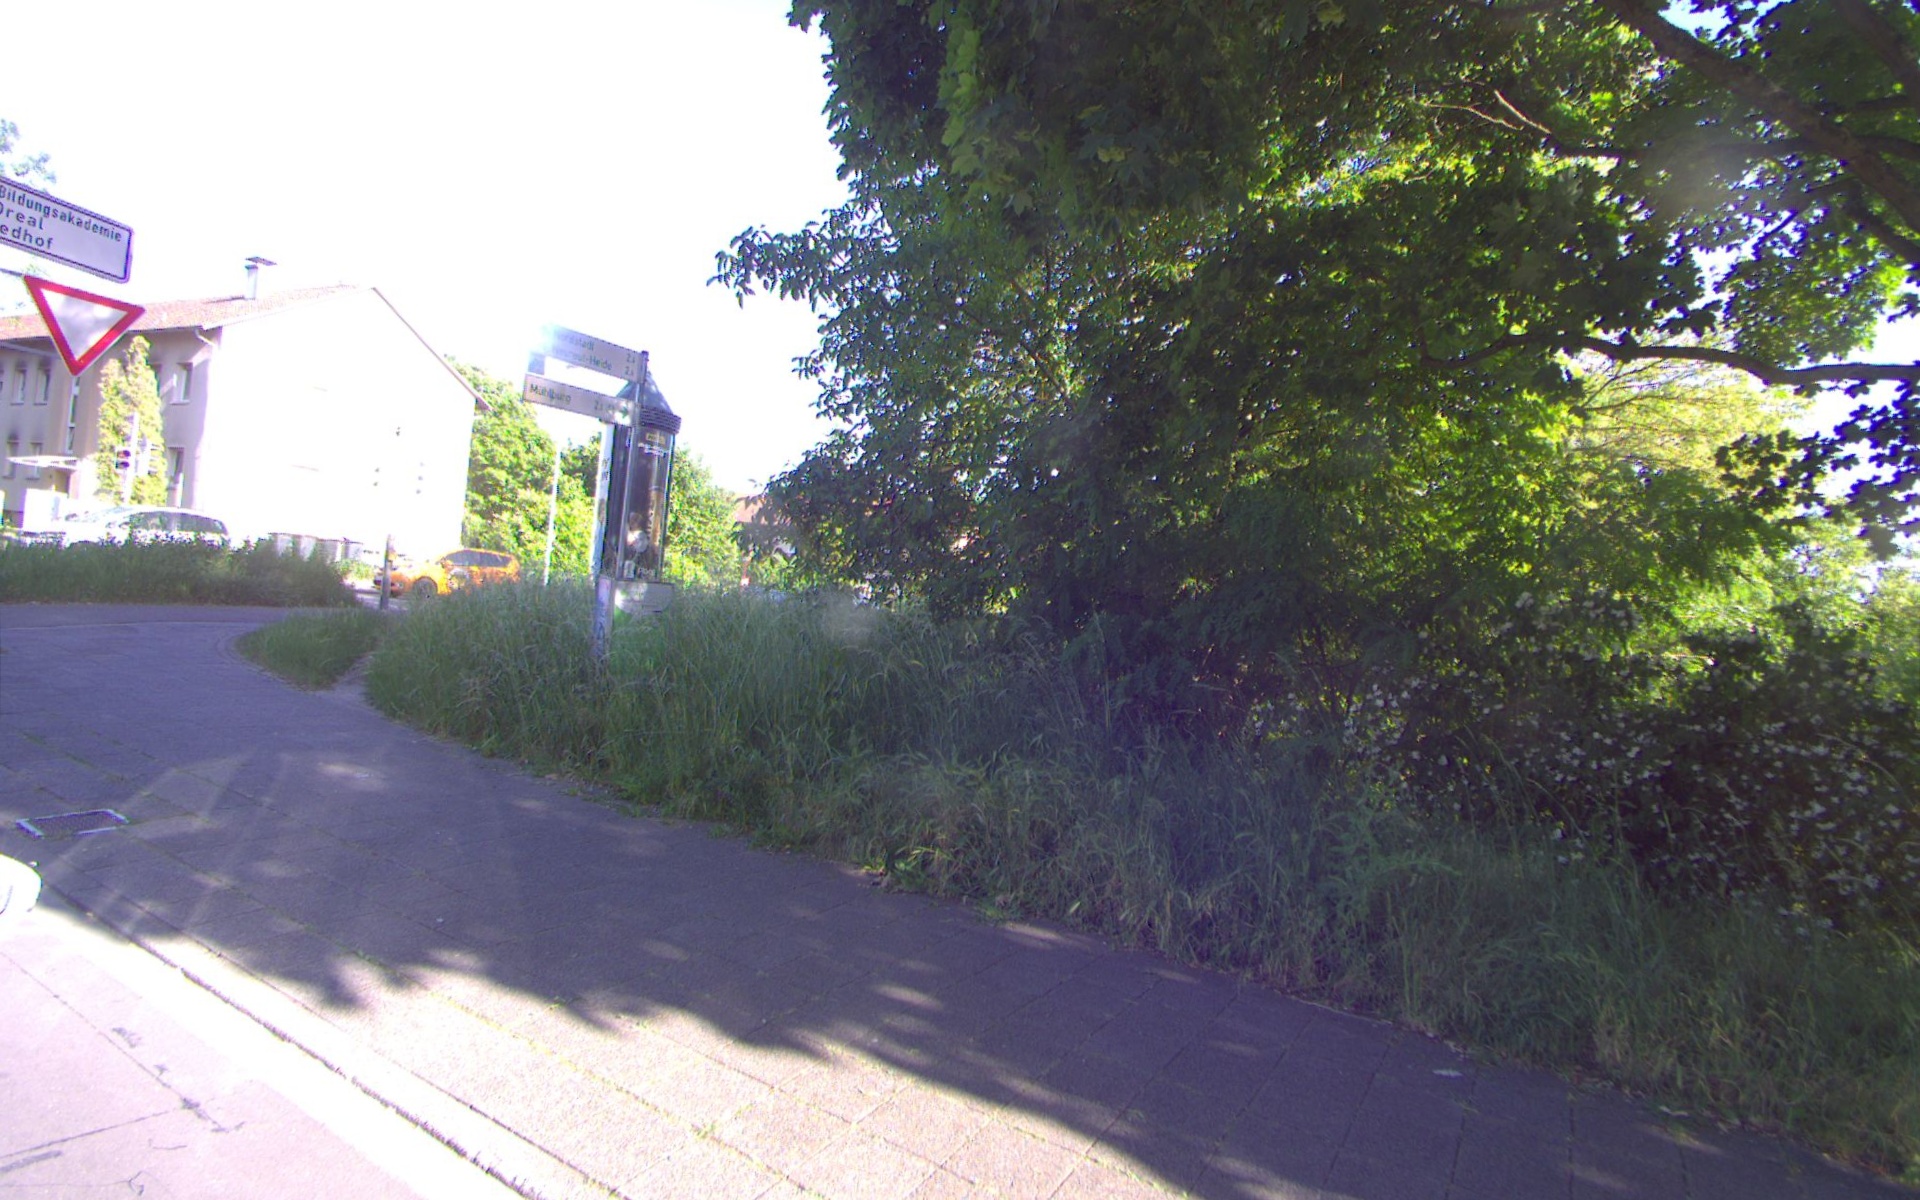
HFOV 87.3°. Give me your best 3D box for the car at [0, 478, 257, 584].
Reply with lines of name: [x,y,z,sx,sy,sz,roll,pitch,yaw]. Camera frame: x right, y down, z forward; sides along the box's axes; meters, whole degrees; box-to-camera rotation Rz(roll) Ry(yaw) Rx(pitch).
car: [-18.038,-1.433,21.830,1.727,1.581,4.117,6,-2,29]

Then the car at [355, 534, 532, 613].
car: [-14.290,-0.698,28.061,1.727,1.600,3.997,6,-2,29]
